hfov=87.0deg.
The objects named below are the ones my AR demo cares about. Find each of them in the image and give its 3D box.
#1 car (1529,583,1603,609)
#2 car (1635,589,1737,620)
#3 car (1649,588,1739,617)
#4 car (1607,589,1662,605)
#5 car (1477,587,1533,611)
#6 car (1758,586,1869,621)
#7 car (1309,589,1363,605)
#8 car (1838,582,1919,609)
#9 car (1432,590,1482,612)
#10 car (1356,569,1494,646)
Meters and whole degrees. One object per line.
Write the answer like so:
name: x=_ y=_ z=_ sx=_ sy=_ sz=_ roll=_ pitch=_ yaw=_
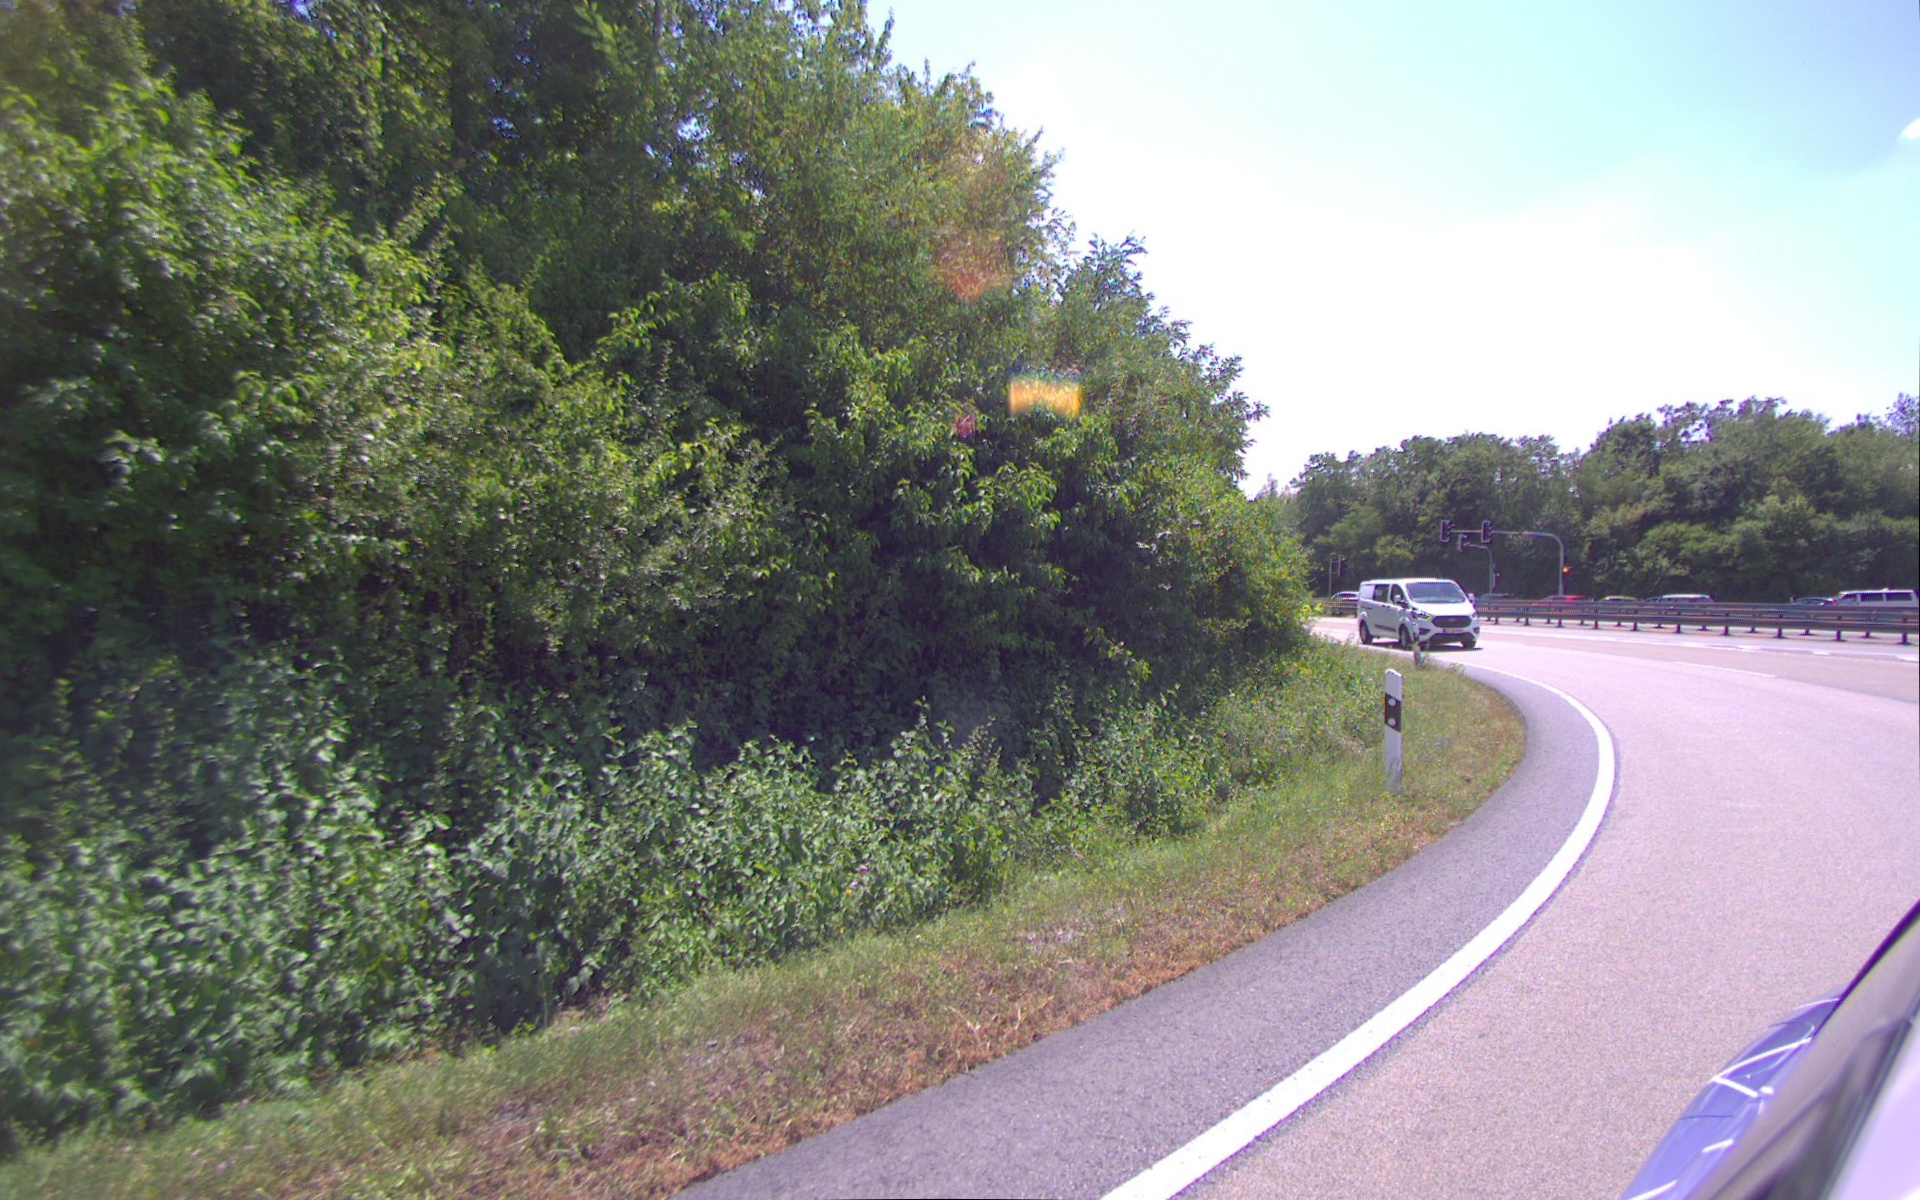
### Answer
car: x=35.630 y=-0.219 z=59.608 sx=1.534 sy=1.468 sz=3.712 roll=-1 pitch=0 yaw=-14
car: x=33.989 y=0.206 z=47.519 sx=1.488 sy=1.365 sz=3.928 roll=-1 pitch=0 yaw=-10
car: x=37.391 y=0.102 z=51.637 sx=1.620 sy=1.411 sz=3.577 roll=-1 pitch=0 yaw=-10
car: x=49.720 y=-0.243 z=74.637 sx=3.165 sy=1.163 sz=1.605 roll=0 pitch=1 yaw=44
car: x=31.940 y=-0.068 z=59.374 sx=1.317 sy=1.366 sz=3.021 roll=-1 pitch=0 yaw=-10
car: x=38.011 y=0.142 z=45.185 sx=1.457 sy=1.468 sz=3.673 roll=-1 pitch=0 yaw=-10
car: x=31.621 y=-0.245 z=85.140 sx=3.930 sy=1.237 sz=1.683 roll=0 pitch=1 yaw=42
car: x=59.167 y=-0.292 z=64.097 sx=5.077 sy=1.661 sz=1.994 roll=0 pitch=0 yaw=34
car: x=28.419 y=0.055 z=57.927 sx=1.133 sy=1.252 sz=2.732 roll=-1 pitch=0 yaw=-10
car: x=13.660 y=0.205 z=30.137 sx=2.027 sy=2.039 sz=5.035 roll=-1 pitch=0 yaw=4
